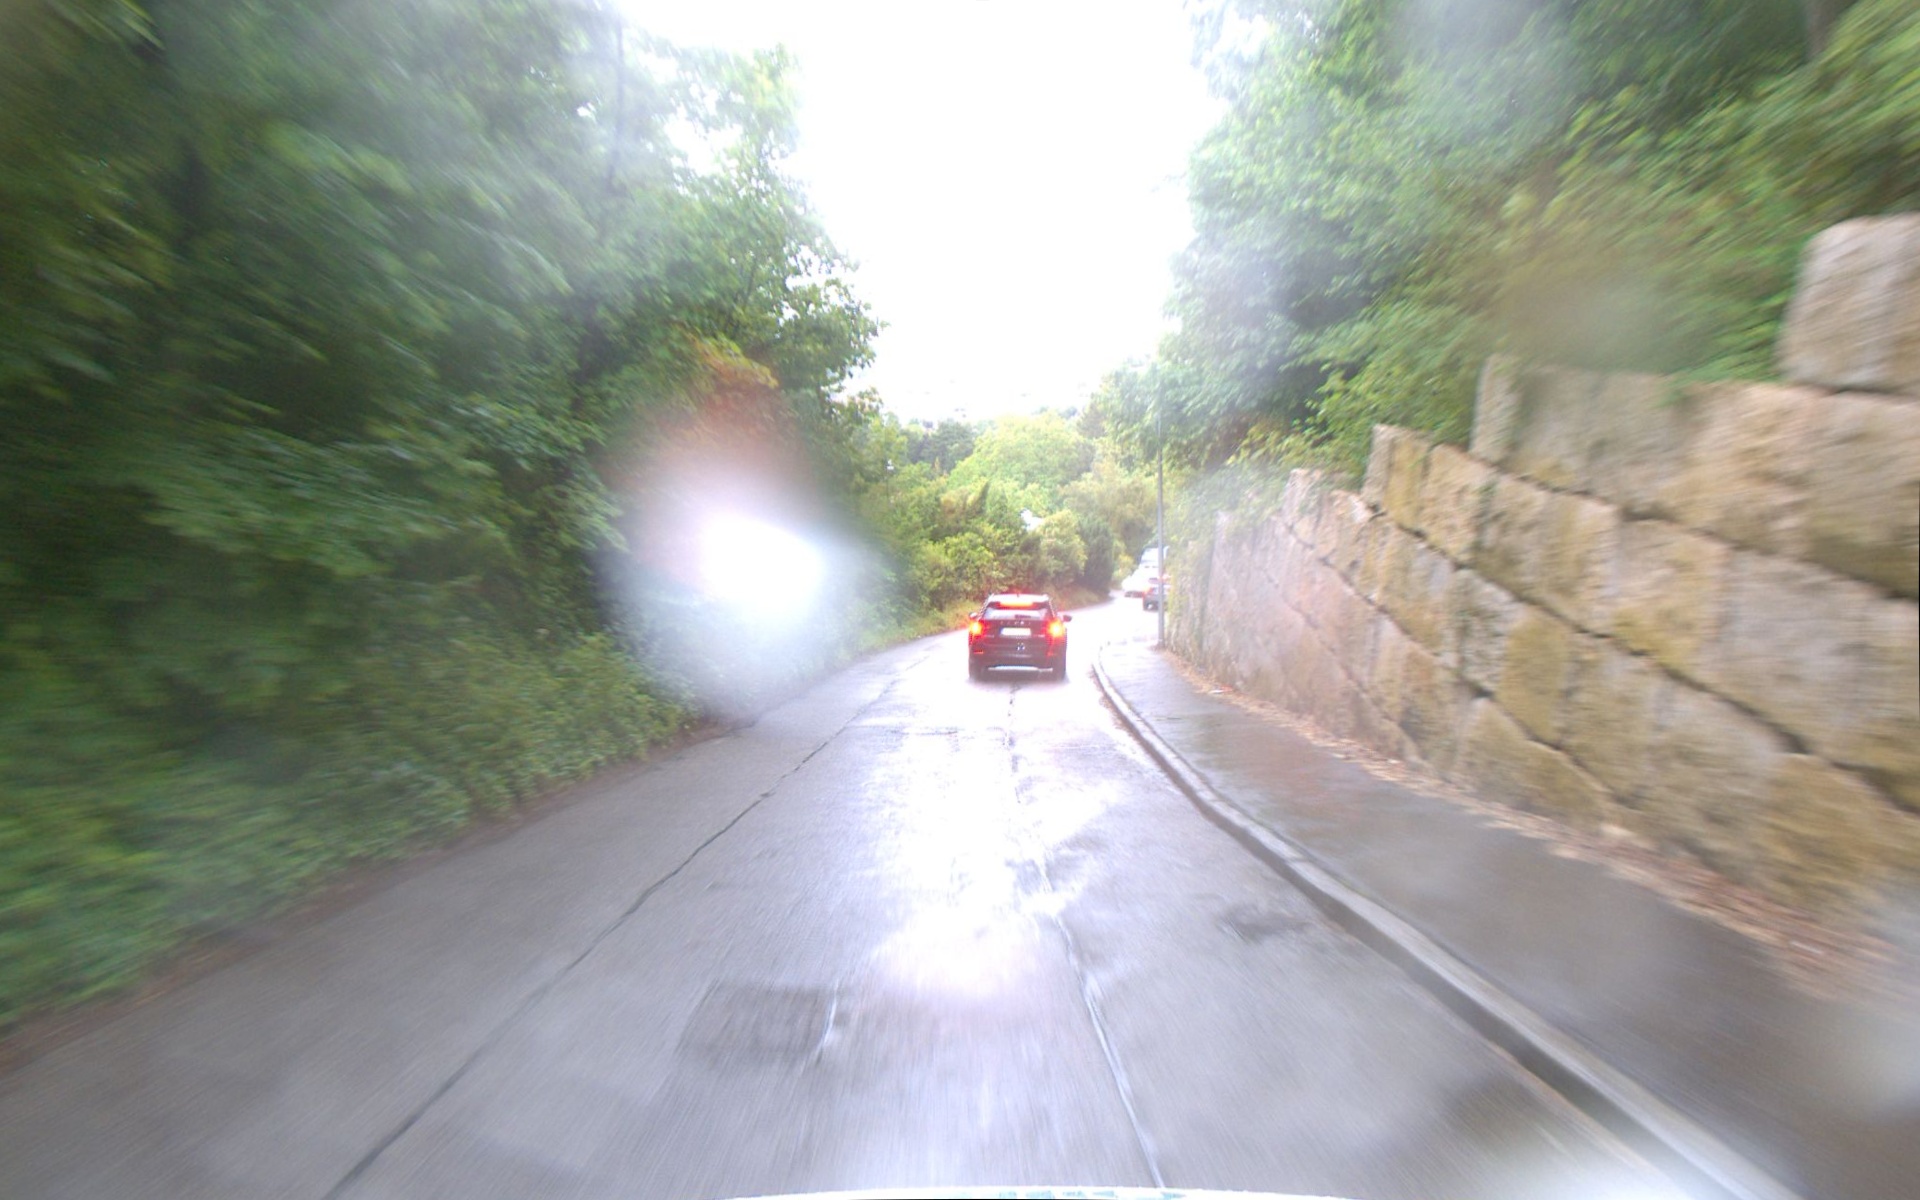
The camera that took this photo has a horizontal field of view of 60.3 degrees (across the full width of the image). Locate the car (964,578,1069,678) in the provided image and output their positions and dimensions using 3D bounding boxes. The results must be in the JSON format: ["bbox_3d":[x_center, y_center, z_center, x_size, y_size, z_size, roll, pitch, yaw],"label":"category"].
[{"bbox_3d":[1.099,0.455,30.264,1.663,1.475,4.005,0,4,6],"label":"car"}]

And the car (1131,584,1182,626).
[{"bbox_3d":[8.947,0.215,75.010,1.823,1.773,4.003,1,0,13],"label":"car"}]

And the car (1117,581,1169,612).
[{"bbox_3d":[9.558,-0.184,85.972,1.900,1.549,4.582,1,0,16],"label":"car"}]
